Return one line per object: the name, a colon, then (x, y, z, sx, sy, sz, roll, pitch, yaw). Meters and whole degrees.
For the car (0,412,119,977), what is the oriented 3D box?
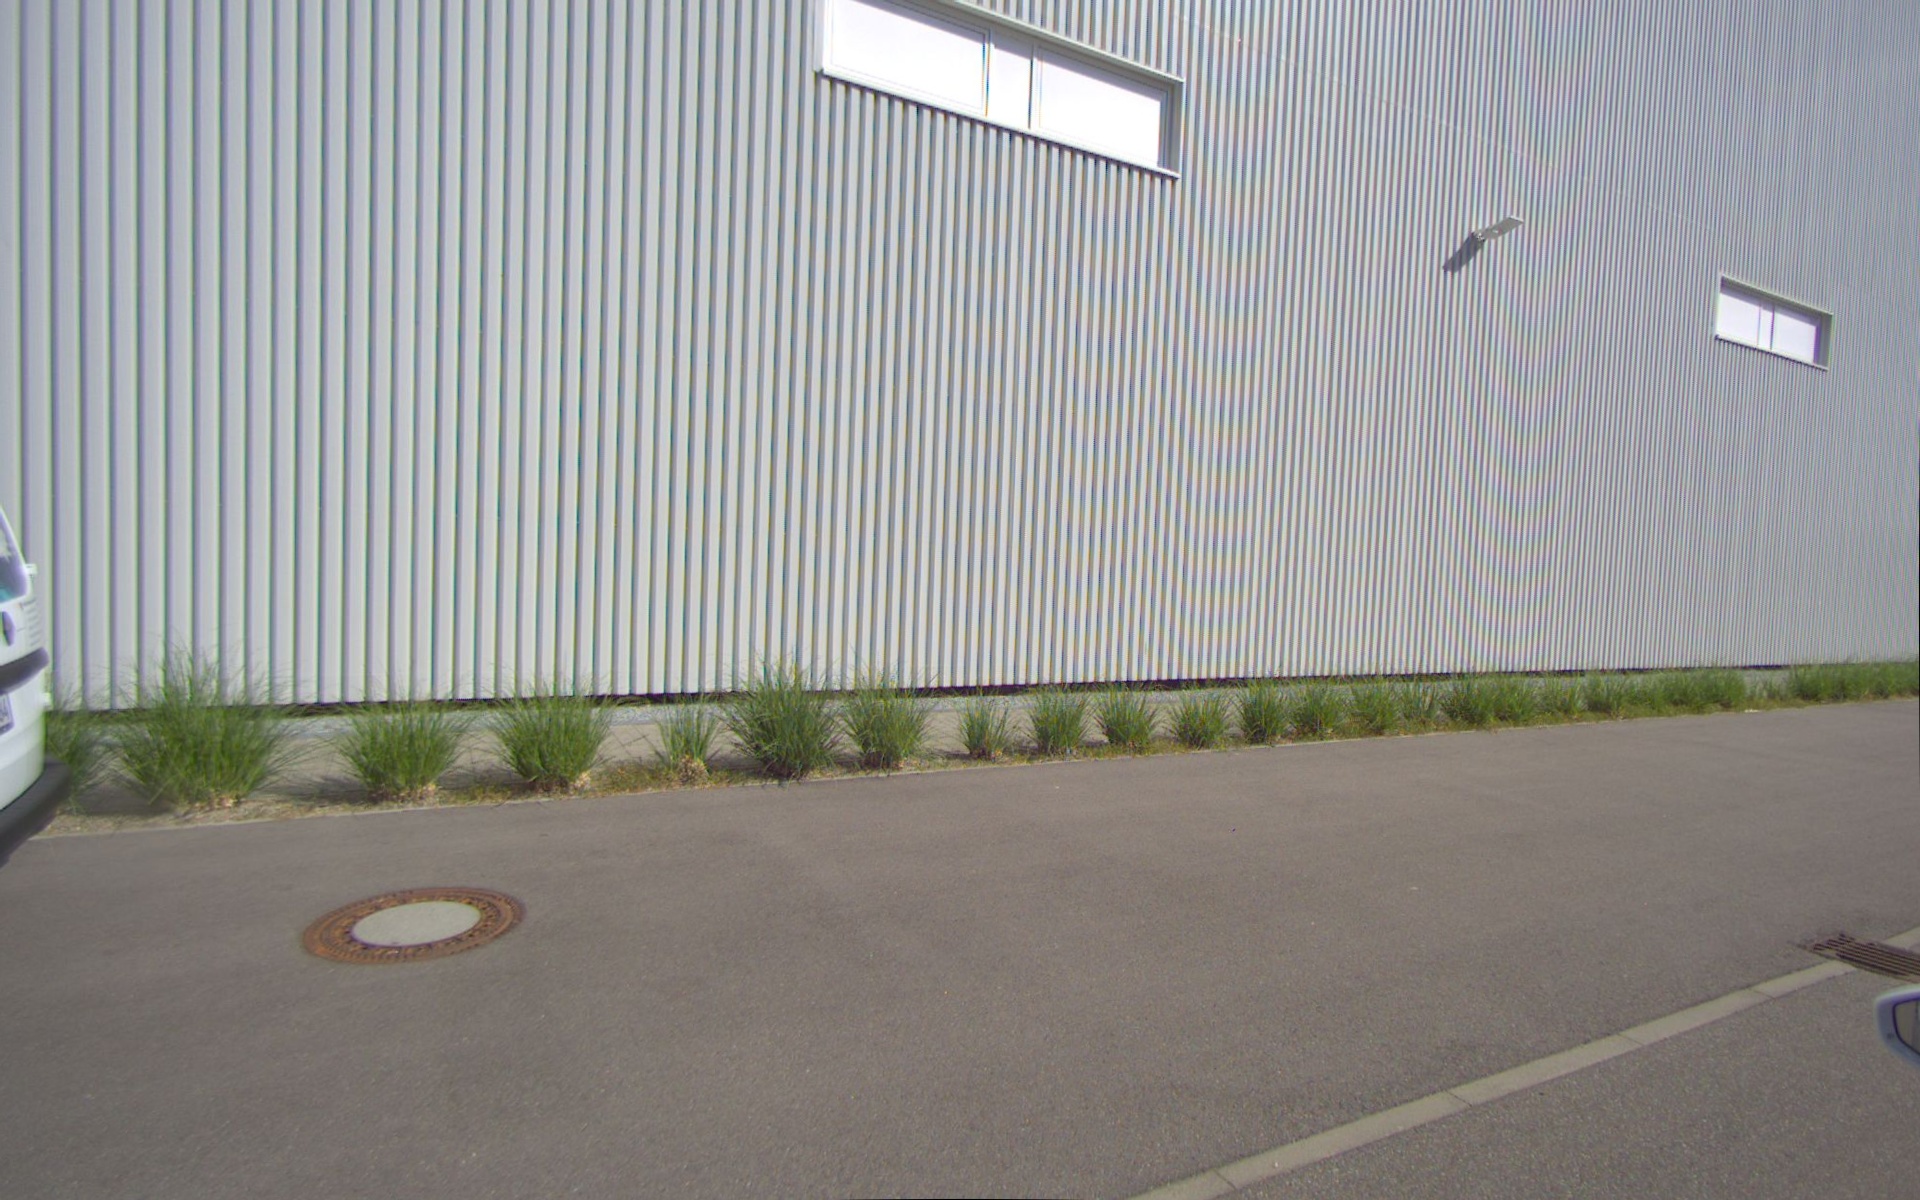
car: (-5.272, 0.236, 2.513, 4.542, 1.814, 1.919, 1, 4, -30)
